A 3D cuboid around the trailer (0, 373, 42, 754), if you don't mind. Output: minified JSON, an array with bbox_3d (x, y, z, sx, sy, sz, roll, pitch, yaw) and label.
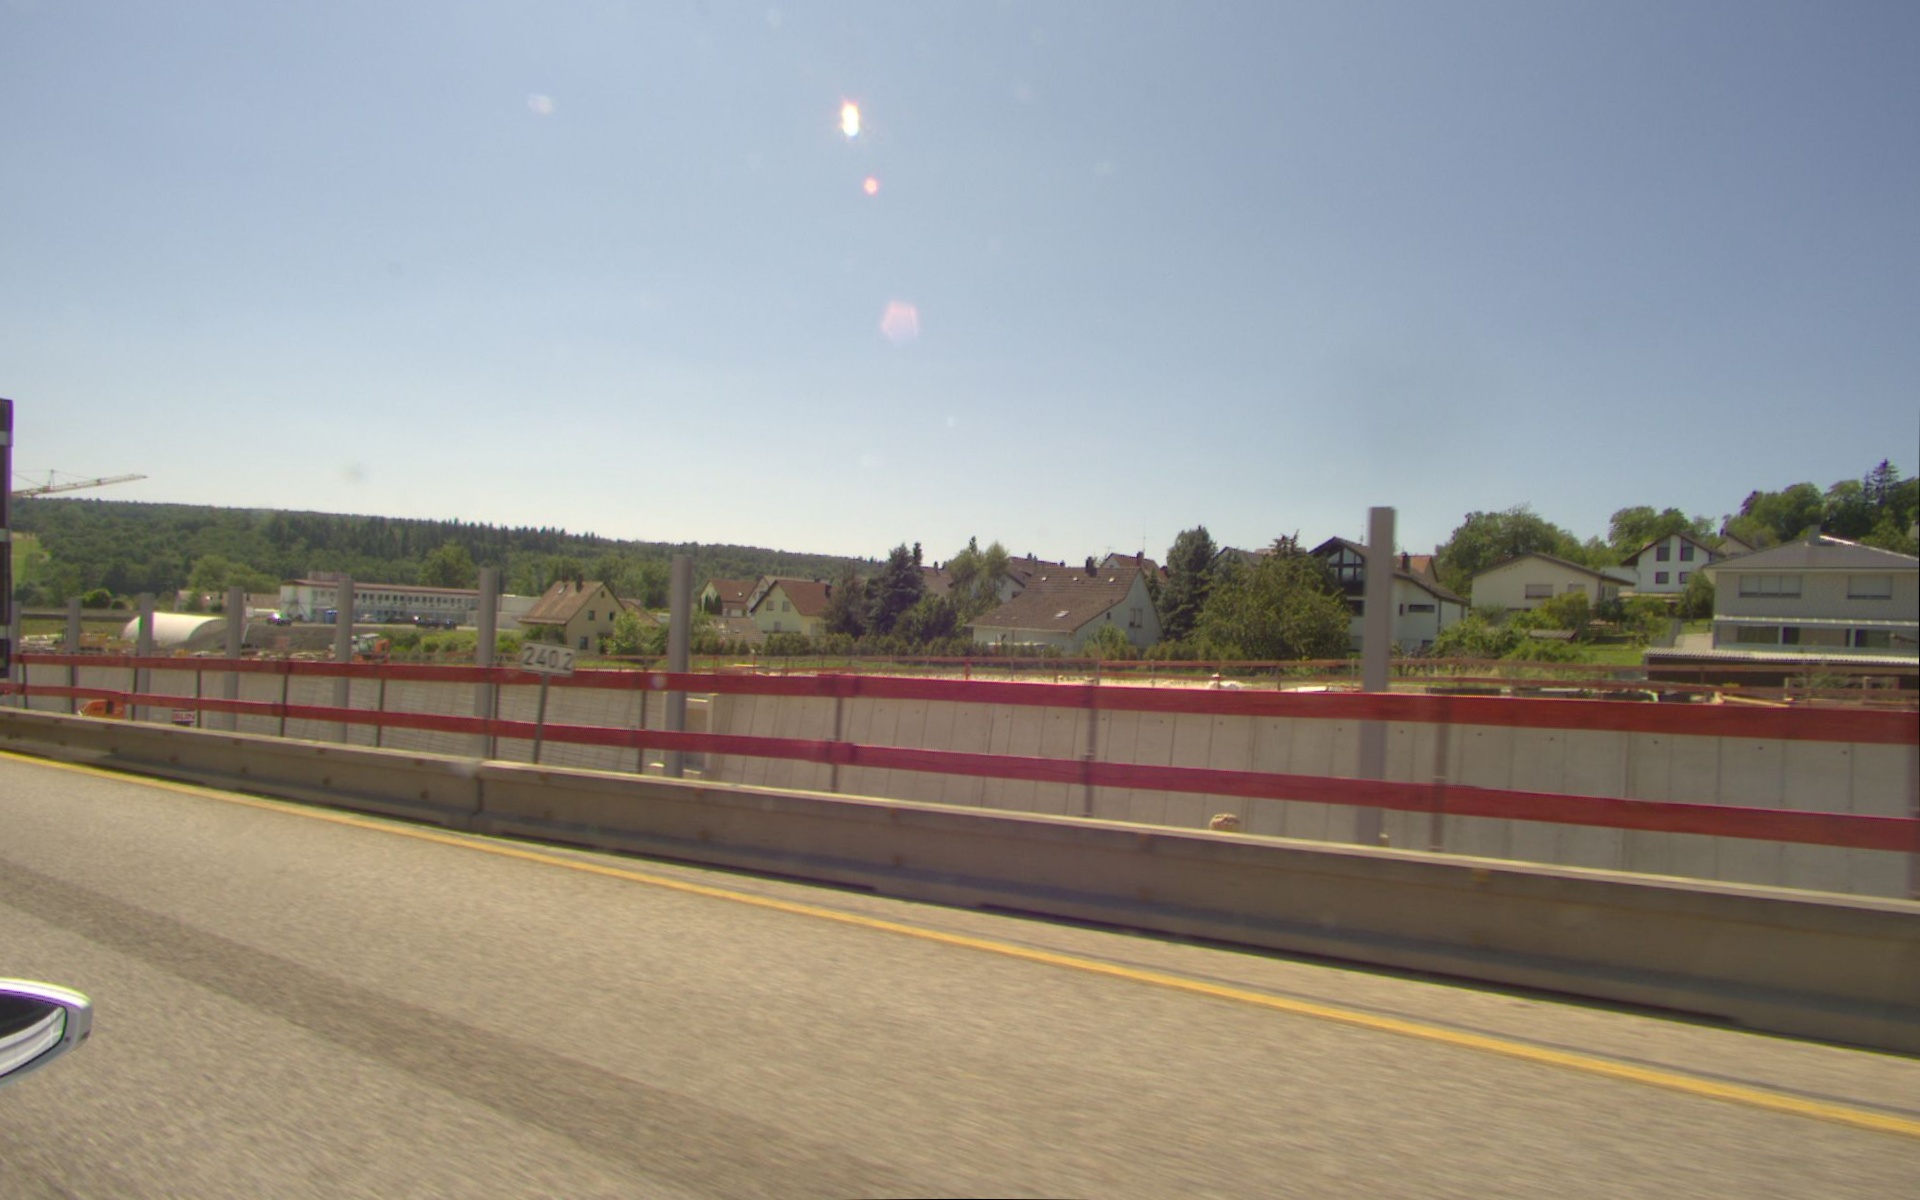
[{"bbox_3d":[-16.781,-0.273,13.573,13.914,4.110,2.797,-1,-1,32],"label":"trailer"}]

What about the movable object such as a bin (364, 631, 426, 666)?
[{"bbox_3d":[-38.101,3.233,67.479,4.093,2.267,1.990,-1,-2,33],"label":"movable object such as a bin"}]

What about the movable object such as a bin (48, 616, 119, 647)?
[{"bbox_3d":[-87.594,3.142,99.982,9.346,2.946,2.882,-1,-2,33],"label":"movable object such as a bin"}]
